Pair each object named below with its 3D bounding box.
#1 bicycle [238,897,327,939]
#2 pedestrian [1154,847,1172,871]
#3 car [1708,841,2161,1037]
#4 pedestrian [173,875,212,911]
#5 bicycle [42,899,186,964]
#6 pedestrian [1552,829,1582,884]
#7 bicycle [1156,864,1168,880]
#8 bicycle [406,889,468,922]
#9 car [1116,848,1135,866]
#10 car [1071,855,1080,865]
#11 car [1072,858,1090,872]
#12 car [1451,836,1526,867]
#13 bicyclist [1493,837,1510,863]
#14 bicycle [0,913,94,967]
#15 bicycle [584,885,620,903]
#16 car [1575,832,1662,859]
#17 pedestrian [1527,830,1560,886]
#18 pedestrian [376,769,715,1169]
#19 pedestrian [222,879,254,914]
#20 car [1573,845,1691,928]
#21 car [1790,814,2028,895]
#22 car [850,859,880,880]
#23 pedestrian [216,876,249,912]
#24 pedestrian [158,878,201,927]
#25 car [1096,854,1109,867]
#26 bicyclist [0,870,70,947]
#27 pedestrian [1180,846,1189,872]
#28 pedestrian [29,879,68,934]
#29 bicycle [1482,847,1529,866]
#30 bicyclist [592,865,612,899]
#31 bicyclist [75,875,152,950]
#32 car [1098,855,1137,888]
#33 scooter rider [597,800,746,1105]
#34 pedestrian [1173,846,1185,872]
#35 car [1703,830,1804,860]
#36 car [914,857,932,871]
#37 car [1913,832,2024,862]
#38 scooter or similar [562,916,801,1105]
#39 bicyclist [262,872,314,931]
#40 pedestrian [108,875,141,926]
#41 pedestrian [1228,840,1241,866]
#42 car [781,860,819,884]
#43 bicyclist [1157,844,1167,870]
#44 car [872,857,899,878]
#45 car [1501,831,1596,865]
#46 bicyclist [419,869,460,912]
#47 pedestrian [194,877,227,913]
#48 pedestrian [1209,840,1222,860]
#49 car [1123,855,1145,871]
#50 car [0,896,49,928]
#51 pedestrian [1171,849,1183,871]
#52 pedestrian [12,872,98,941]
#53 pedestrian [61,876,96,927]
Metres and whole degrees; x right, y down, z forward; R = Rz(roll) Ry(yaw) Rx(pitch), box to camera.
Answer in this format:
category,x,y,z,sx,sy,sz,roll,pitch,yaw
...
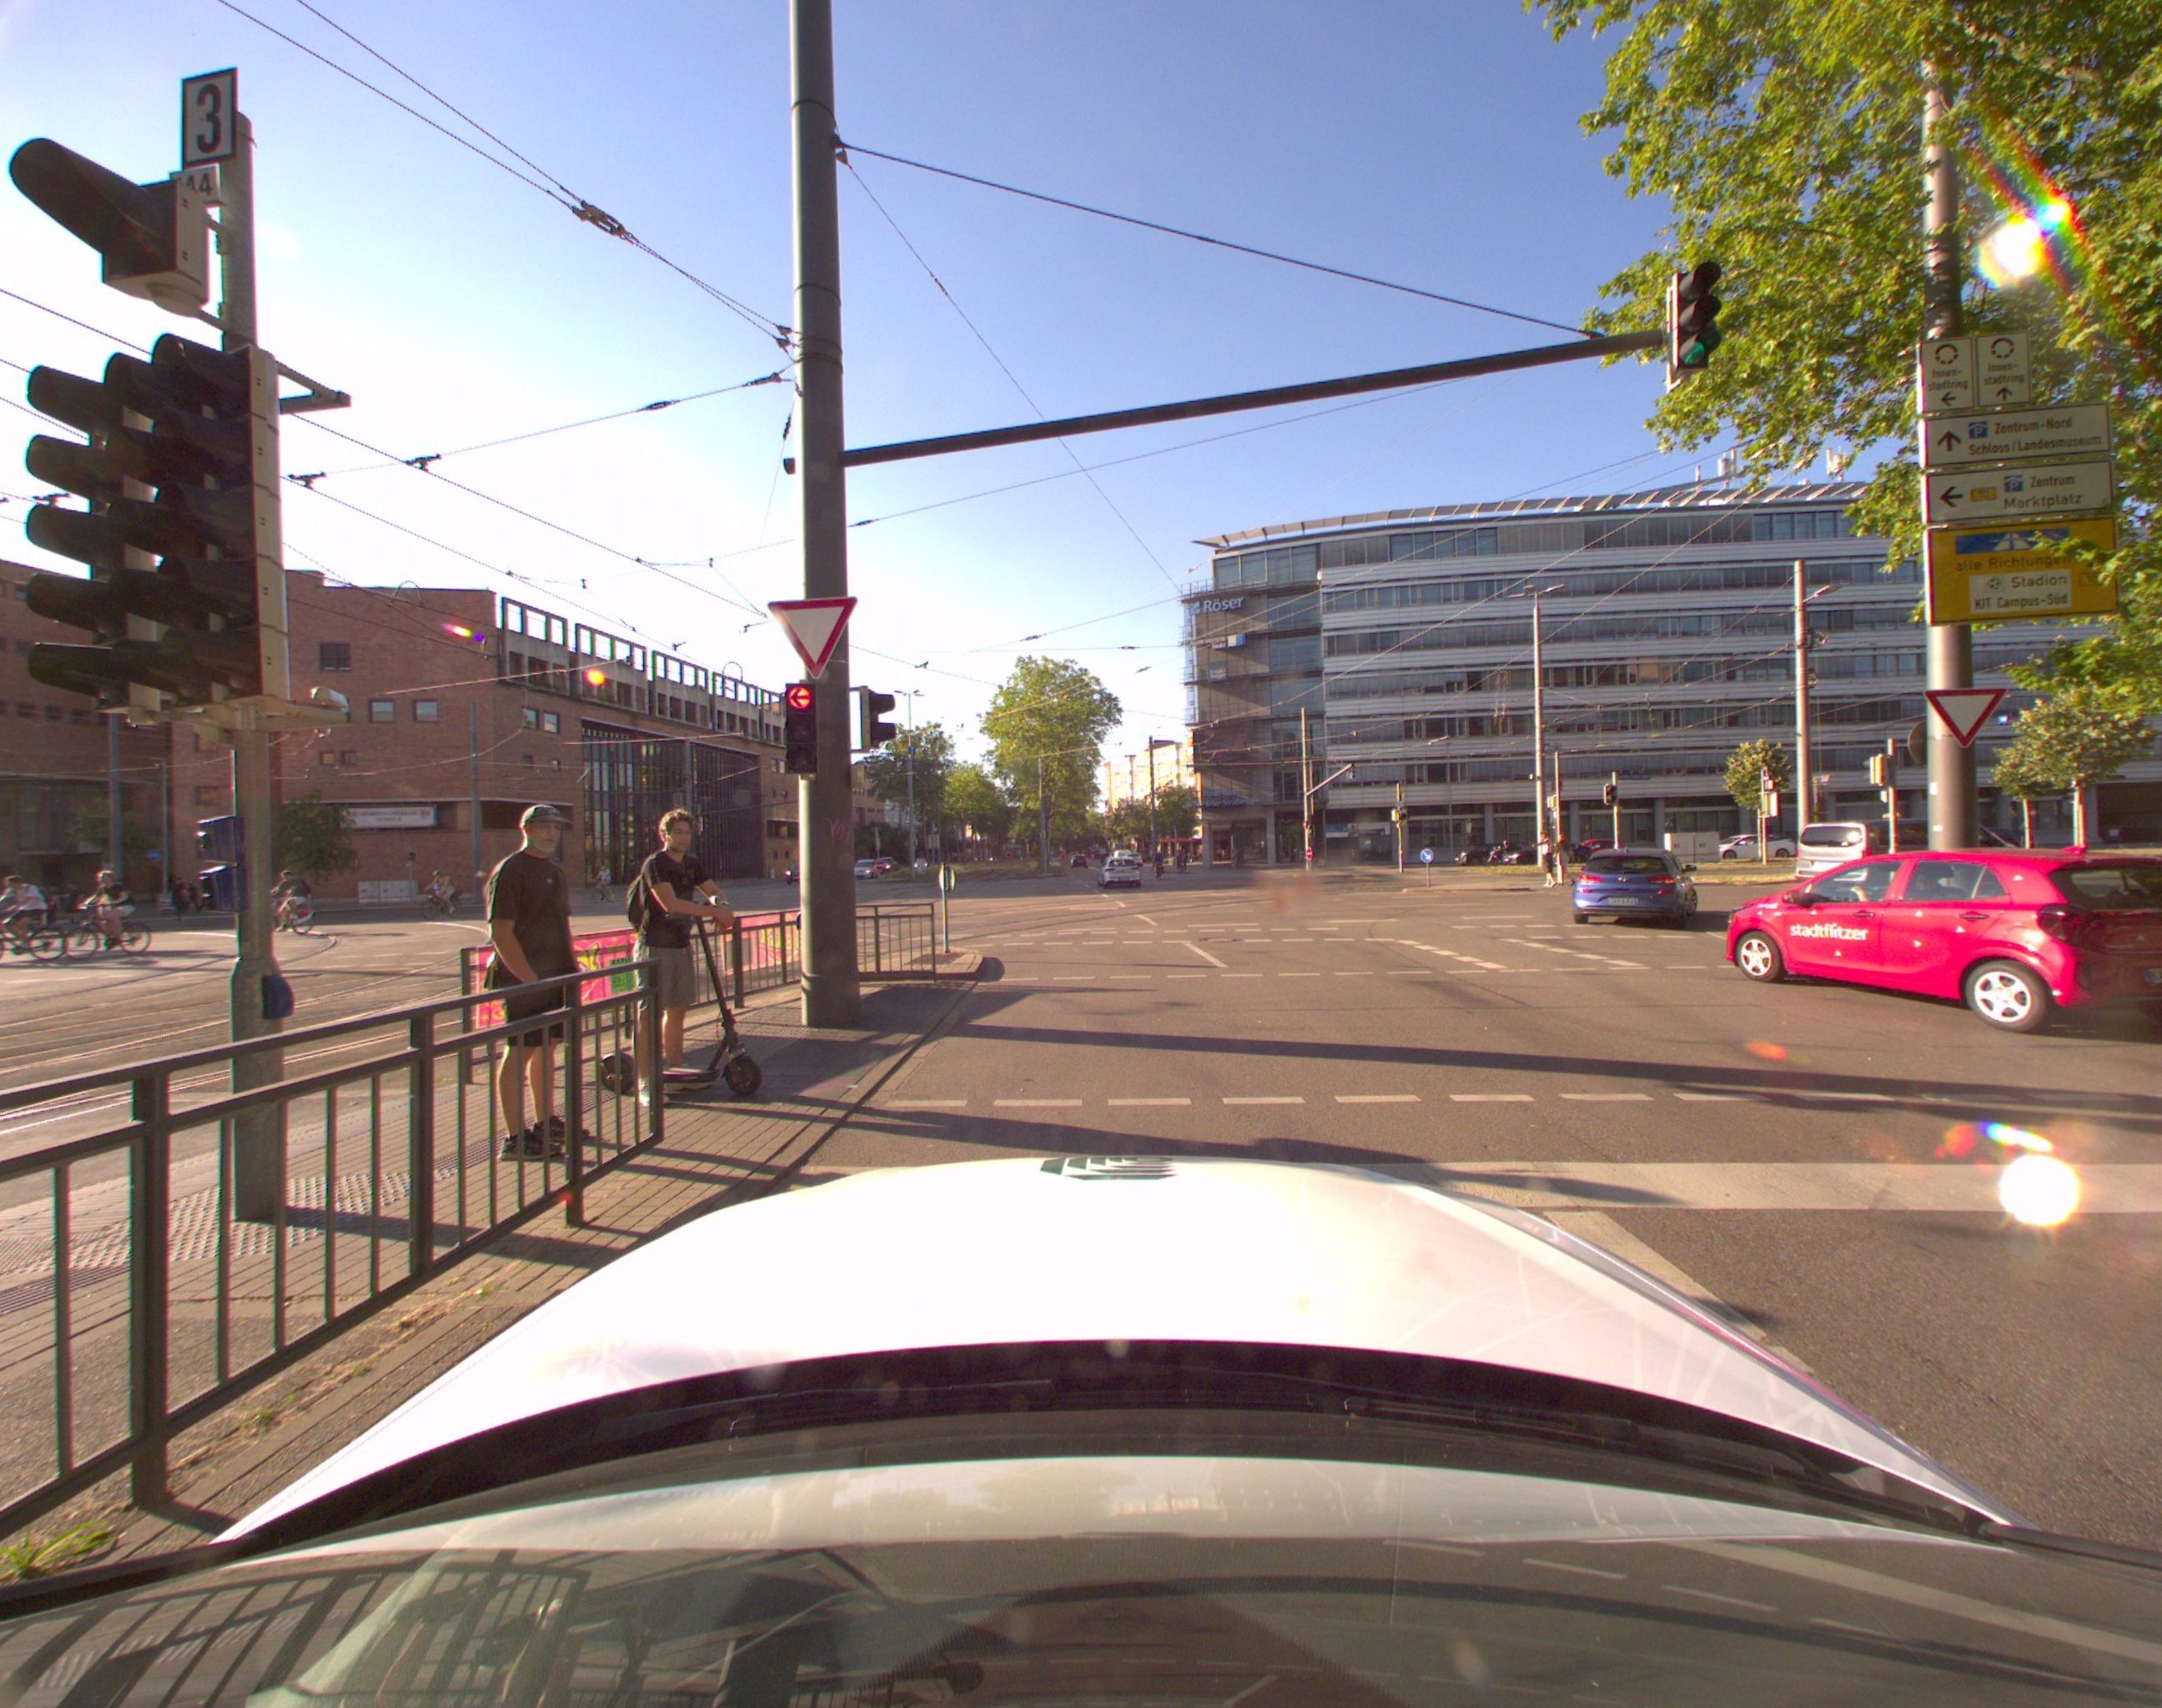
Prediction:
category,x,y,z,sx,sy,sz,roll,pitch,yaw
bicycle,-21.997,1.746,22.489,0.692,0.998,1.898,-2,0,-5
pedestrian,6.619,0.403,65.751,1.337,1.950,1.011,-2,-1,1
car,8.241,0.633,7.939,1.485,1.459,3.596,-1,0,0
pedestrian,-51.791,2.259,47.482,1.155,2.013,0.910,-2,0,-2
bicycle,-21.495,1.688,18.189,0.683,1.142,2.109,-2,2,-3
pedestrian,15.639,0.080,26.200,0.732,1.759,0.690,-2,0,35
bicycle,4.520,0.984,45.545,0.489,0.788,1.863,-1,1,2
bicycle,-22.625,1.788,28.665,0.650,1.050,2.010,-1,0,-3
car,4.868,0.344,89.860,1.986,2.014,4.001,0,-1,2
car,-1.391,1.415,204.260,1.985,2.015,4.000,0,-8,3
car,0.005,1.196,86.532,1.759,1.404,4.293,-1,0,-2
car,27.171,-0.181,54.385,3.972,2.014,2.001,0,-1,2
bicyclist,25.323,-0.246,49.037,0.660,1.503,0.614,-2,0,7
bicycle,-22.505,1.832,17.361,0.651,0.998,1.899,-2,0,-4
bicycle,-23.079,1.906,39.287,0.588,0.771,1.966,-2,0,-2
car,32.078,-0.507,48.663,3.966,1.552,1.800,0,-1,6
pedestrian,14.767,0.120,25.999,0.732,1.759,0.684,-2,0,39
pedestrian,-2.769,0.562,4.325,1.161,1.884,0.856,-2,0,6
pedestrian,-51.962,2.594,50.209,1.003,2.052,0.850,-2,0,-1
car,11.007,0.560,16.486,1.731,1.459,4.239,-1,0,31
car,21.340,-0.015,21.055,4.870,1.896,1.999,-1,0,-12
car,-17.963,1.282,67.885,1.618,1.577,3.994,-2,0,-4
pedestrian,-50.696,2.381,48.664,1.003,2.052,0.850,-2,0,-1
pedestrian,-35.378,1.890,31.972,0.721,1.902,0.875,0,-1,-1
car,3.288,1.056,126.815,1.986,2.014,4.001,0,-1,2
bicyclist,-22.533,1.160,17.482,0.659,1.574,0.758,-2,0,-4
pedestrian,7.993,0.373,62.872,0.584,2.014,0.620,0,-1,2
pedestrian,-38.585,1.940,30.447,0.615,2.013,0.726,-2,0,-29
bicycle,25.526,0.137,49.024,2.397,1.022,0.638,-2,0,6
bicyclist,-23.095,1.348,39.288,0.585,1.625,0.514,-2,0,-2
bicyclist,-21.502,1.287,18.117,0.680,1.560,0.758,-2,2,-3
car,1.759,0.772,38.369,1.740,1.418,4.004,-1,0,4
scooter rider,-2.658,0.610,5.335,0.563,1.853,0.681,-2,-2,6
pedestrian,7.638,0.408,63.602,0.846,2.014,0.708,0,-1,1
car,37.331,-0.475,45.299,3.968,1.596,1.884,0,-1,5
car,-18.908,1.167,97.480,1.673,1.607,3.994,0,-1,-4
car,50.573,-0.378,46.491,4.097,1.596,1.884,0,-1,5
scooter or similar,-2.571,0.991,5.323,1.196,1.081,0.649,-2,0,5
bicyclist,-22.004,1.306,22.599,0.660,1.569,0.757,-2,0,-6
pedestrian,-39.343,1.895,33.513,0.615,2.013,0.726,-2,0,-28
pedestrian,12.252,-0.050,64.856,0.866,2.014,0.794,0,-2,1
car,-21.436,1.322,62.231,1.865,1.762,3.992,0,0,-5
bicyclist,4.524,0.166,45.353,0.485,1.439,0.616,0,1,1
car,-18.134,1.216,75.655,1.819,1.790,3.994,-2,0,-4
car,26.337,-0.320,46.011,4.234,1.723,1.886,-2,0,4
bicyclist,-22.649,1.288,28.778,0.652,1.474,1.031,-1,-1,-3
pedestrian,-51.977,2.437,48.619,1.003,2.052,0.850,-2,0,-1
pedestrian,15.161,-0.415,91.852,1.305,2.190,1.173,-1,-1,8
car,5.372,0.940,82.838,2.022,1.596,4.001,0,-1,2
car,-50.761,2.731,37.612,3.702,1.376,1.581,-2,0,-9
pedestrian,7.582,0.481,64.485,0.866,1.707,0.794,0,-1,1
pedestrian,-30.855,1.549,24.523,1.029,2.014,1.208,0,-1,1
pedestrian,-40.333,1.892,32.761,0.615,2.013,0.726,-2,0,-28
